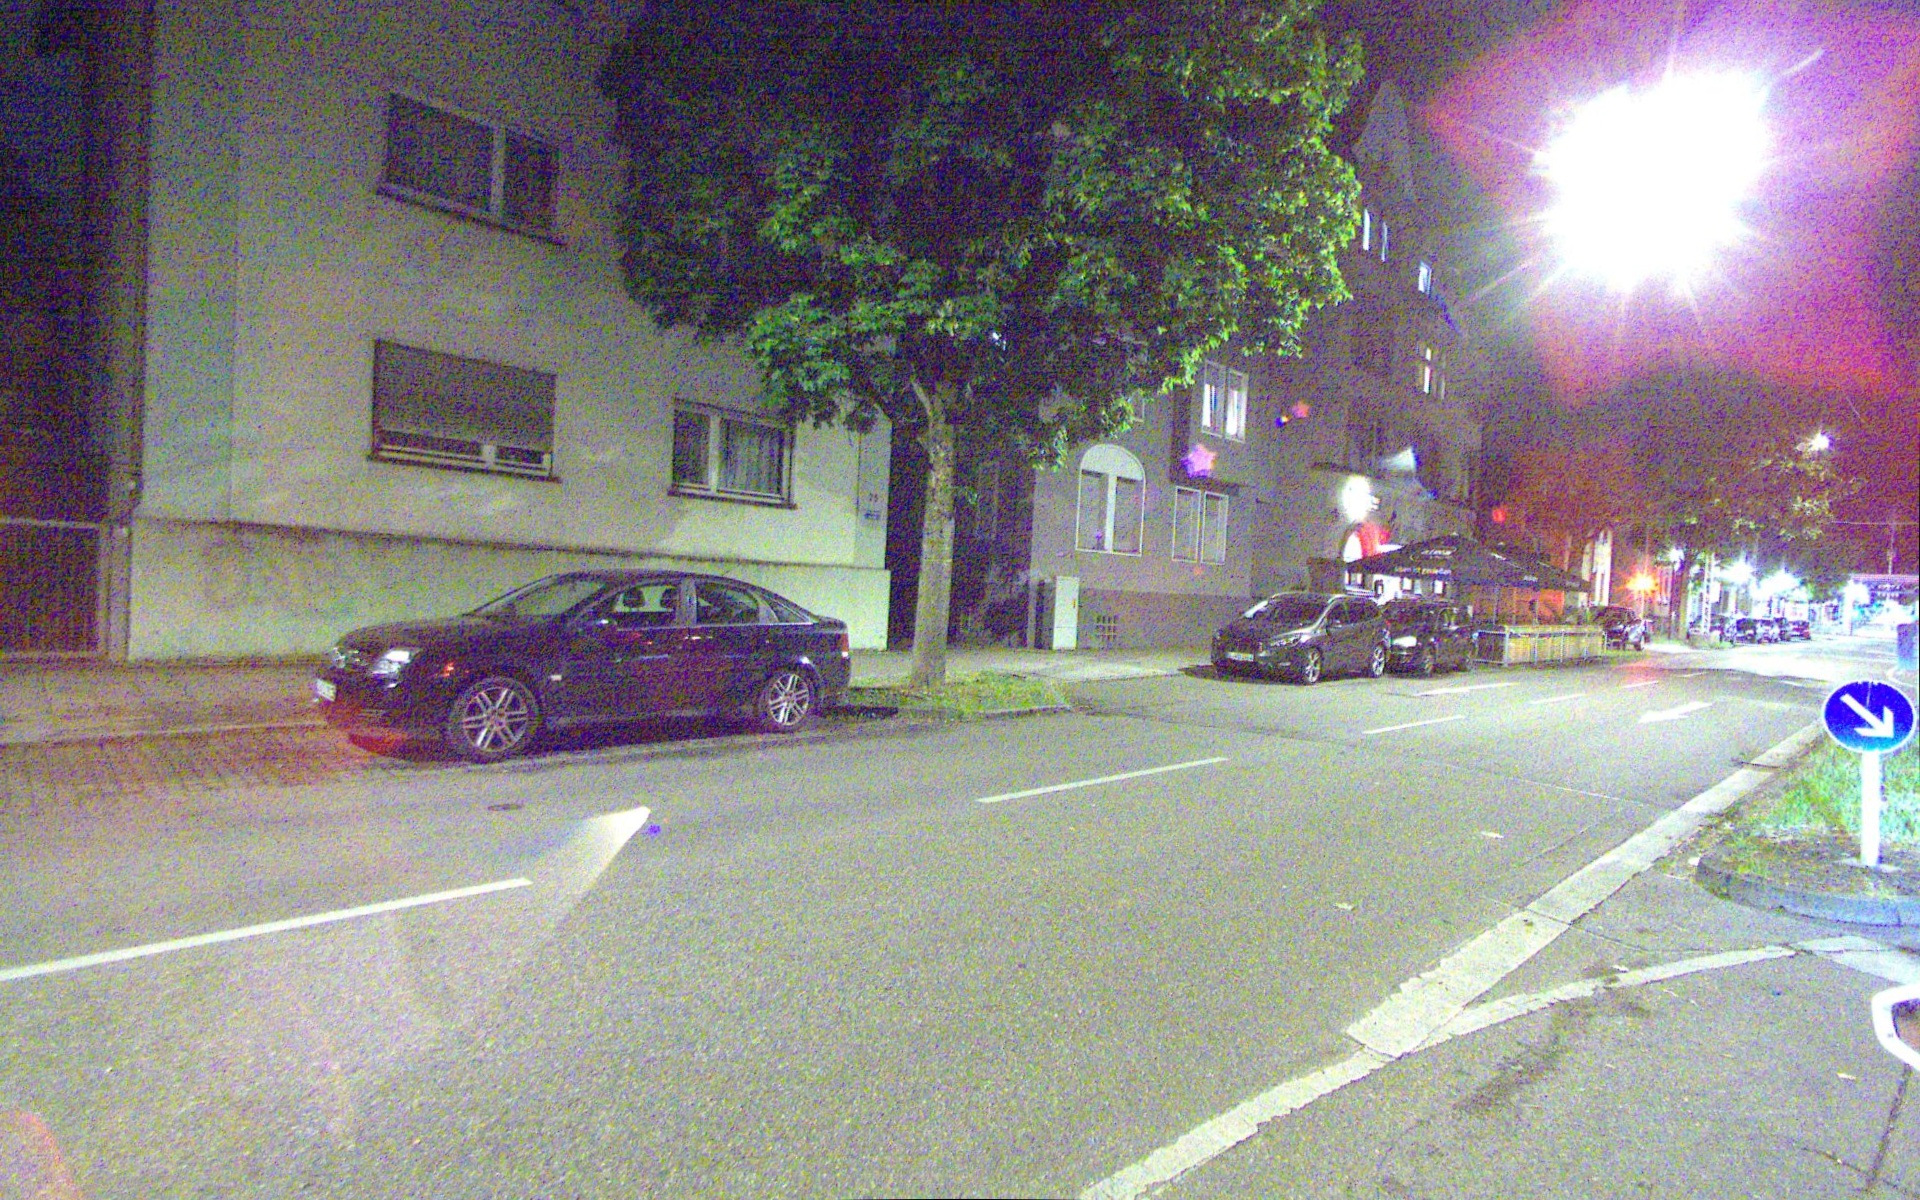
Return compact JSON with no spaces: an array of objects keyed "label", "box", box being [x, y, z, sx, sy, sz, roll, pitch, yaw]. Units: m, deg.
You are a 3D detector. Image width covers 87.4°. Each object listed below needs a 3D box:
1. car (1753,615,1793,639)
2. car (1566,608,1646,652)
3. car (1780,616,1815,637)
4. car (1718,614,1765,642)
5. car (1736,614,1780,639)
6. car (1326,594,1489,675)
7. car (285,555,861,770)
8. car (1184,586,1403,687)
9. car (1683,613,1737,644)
[{"label":"car","box":[53.944,1.790,66.612,1.634,1.450,3.975,3,1,45]},{"label":"car","box":[23.678,1.078,36.791,1.634,1.450,3.975,3,1,45]},{"label":"car","box":[63.595,2.009,76.259,1.634,1.450,3.975,3,1,45]},{"label":"car","box":[44.830,1.601,57.608,1.634,1.450,3.975,3,1,45]},{"label":"car","box":[49.236,1.621,61.952,1.634,1.450,3.975,3,1,45]},{"label":"car","box":[9.717,0.723,21.640,1.785,1.501,4.297,4,1,44]},{"label":"car","box":[-3.062,0.432,8.762,1.604,1.401,4.428,3,1,42]},{"label":"car","box":[6.103,0.594,18.091,4.423,1.491,1.880,1,4,-45]},{"label":"car","box":[38.865,1.470,52.028,1.634,1.450,3.975,3,1,45]}]
